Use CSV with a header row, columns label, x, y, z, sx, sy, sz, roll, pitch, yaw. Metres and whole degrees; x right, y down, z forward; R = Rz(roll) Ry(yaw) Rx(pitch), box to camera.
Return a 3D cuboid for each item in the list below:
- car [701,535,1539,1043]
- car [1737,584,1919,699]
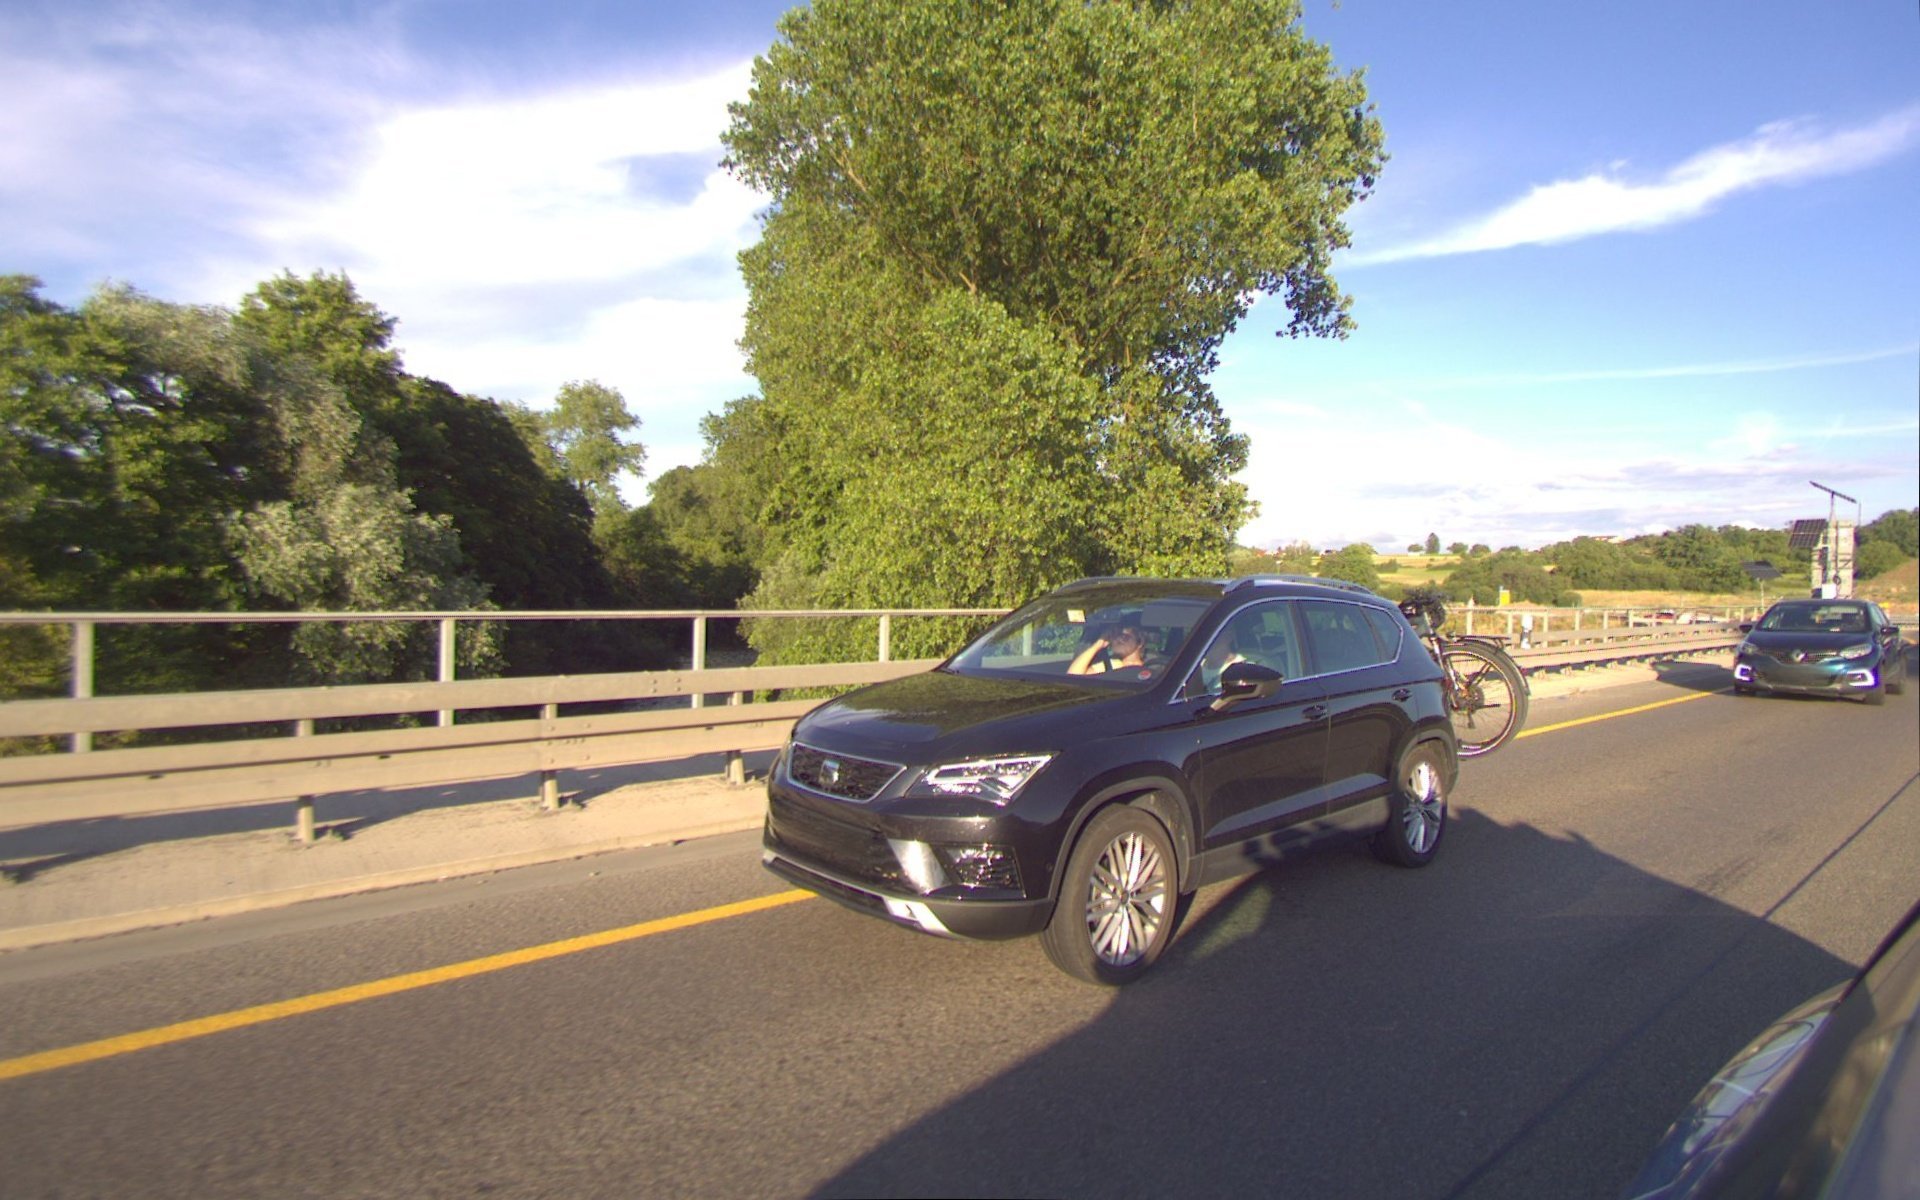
label,x,y,z,sx,sy,sz,roll,pitch,yaw
car,1.253,0.588,5.558,4.879,1.619,1.878,0,1,-41
car,13.987,0.605,16.160,4.063,1.606,1.776,1,-1,-42
